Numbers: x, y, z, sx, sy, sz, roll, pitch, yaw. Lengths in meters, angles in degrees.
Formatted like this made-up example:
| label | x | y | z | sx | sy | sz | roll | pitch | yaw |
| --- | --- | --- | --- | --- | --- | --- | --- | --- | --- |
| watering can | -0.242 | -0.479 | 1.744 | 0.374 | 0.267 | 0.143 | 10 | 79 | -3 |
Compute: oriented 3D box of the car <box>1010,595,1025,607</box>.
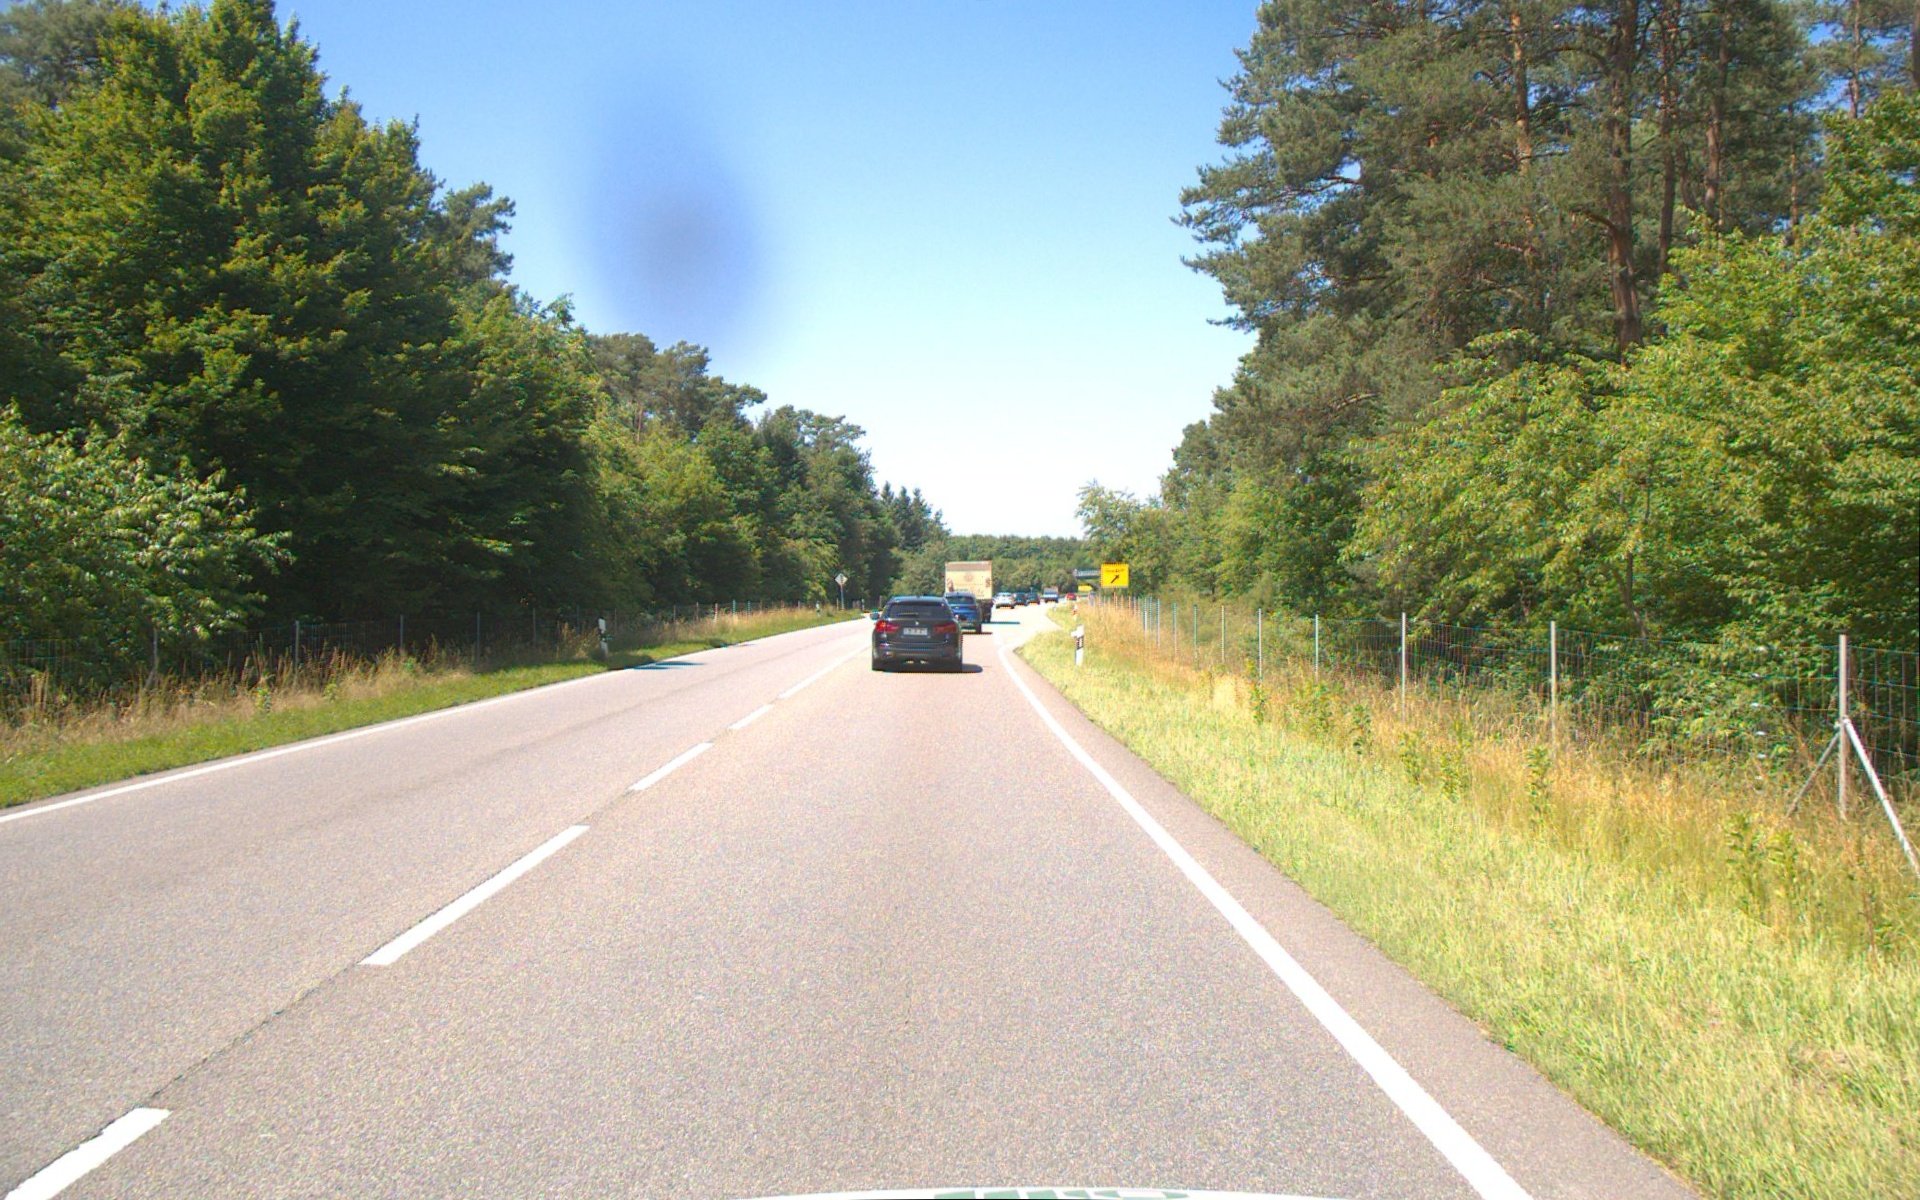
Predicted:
| label | x | y | z | sx | sy | sz | roll | pitch | yaw |
| --- | --- | --- | --- | --- | --- | --- | --- | --- | --- |
| car | 7.213 | 0.113 | 207.221 | 1.952 | 1.445 | 4.001 | 1 | 0 | 2 |

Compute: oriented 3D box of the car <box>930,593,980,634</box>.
| label | x | y | z | sx | sy | sz | roll | pitch | yaw |
| --- | --- | --- | --- | --- | --- | --- | --- | --- | --- |
| car | -0.204 | 0.511 | 66.270 | 1.908 | 1.568 | 3.999 | -1 | 0 | -1 |

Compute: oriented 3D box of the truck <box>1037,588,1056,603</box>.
| label | x | y | z | sx | sy | sz | roll | pitch | yaw |
| --- | --- | --- | --- | --- | --- | --- | --- | --- | --- |
| truck | 13.667 | -0.683 | 261.978 | 2.512 | 2.241 | 4.972 | -1 | 0 | -2 |

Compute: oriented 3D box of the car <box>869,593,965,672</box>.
| label | x | y | z | sx | sy | sz | roll | pitch | yaw |
| --- | --- | --- | --- | --- | --- | --- | --- | --- | --- |
| car | -0.944 | 0.625 | 34.190 | 1.785 | 1.496 | 3.997 | -1 | 0 | -4 |

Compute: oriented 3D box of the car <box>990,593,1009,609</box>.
| label | x | y | z | sx | sy | sz | roll | pitch | yaw |
| --- | --- | --- | --- | --- | --- | --- | --- | --- | --- |
| car | 4.236 | 0.070 | 177.135 | 1.825 | 1.633 | 3.999 | -1 | 0 | -1 |

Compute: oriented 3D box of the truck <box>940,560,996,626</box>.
| label | x | y | z | sx | sy | sz | roll | pitch | yaw |
| --- | --- | --- | --- | --- | --- | --- | --- | --- | --- |
| truck | 0.479 | -0.414 | 90.204 | 2.904 | 3.447 | 6.439 | 0 | 0 | 1 |

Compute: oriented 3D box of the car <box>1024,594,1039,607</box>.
| label | x | y | z | sx | sy | sz | roll | pitch | yaw |
| --- | --- | --- | --- | --- | --- | --- | --- | --- | --- |
| car | 9.928 | 0.050 | 229.867 | 1.952 | 1.665 | 4.002 | -1 | 0 | 4 |
